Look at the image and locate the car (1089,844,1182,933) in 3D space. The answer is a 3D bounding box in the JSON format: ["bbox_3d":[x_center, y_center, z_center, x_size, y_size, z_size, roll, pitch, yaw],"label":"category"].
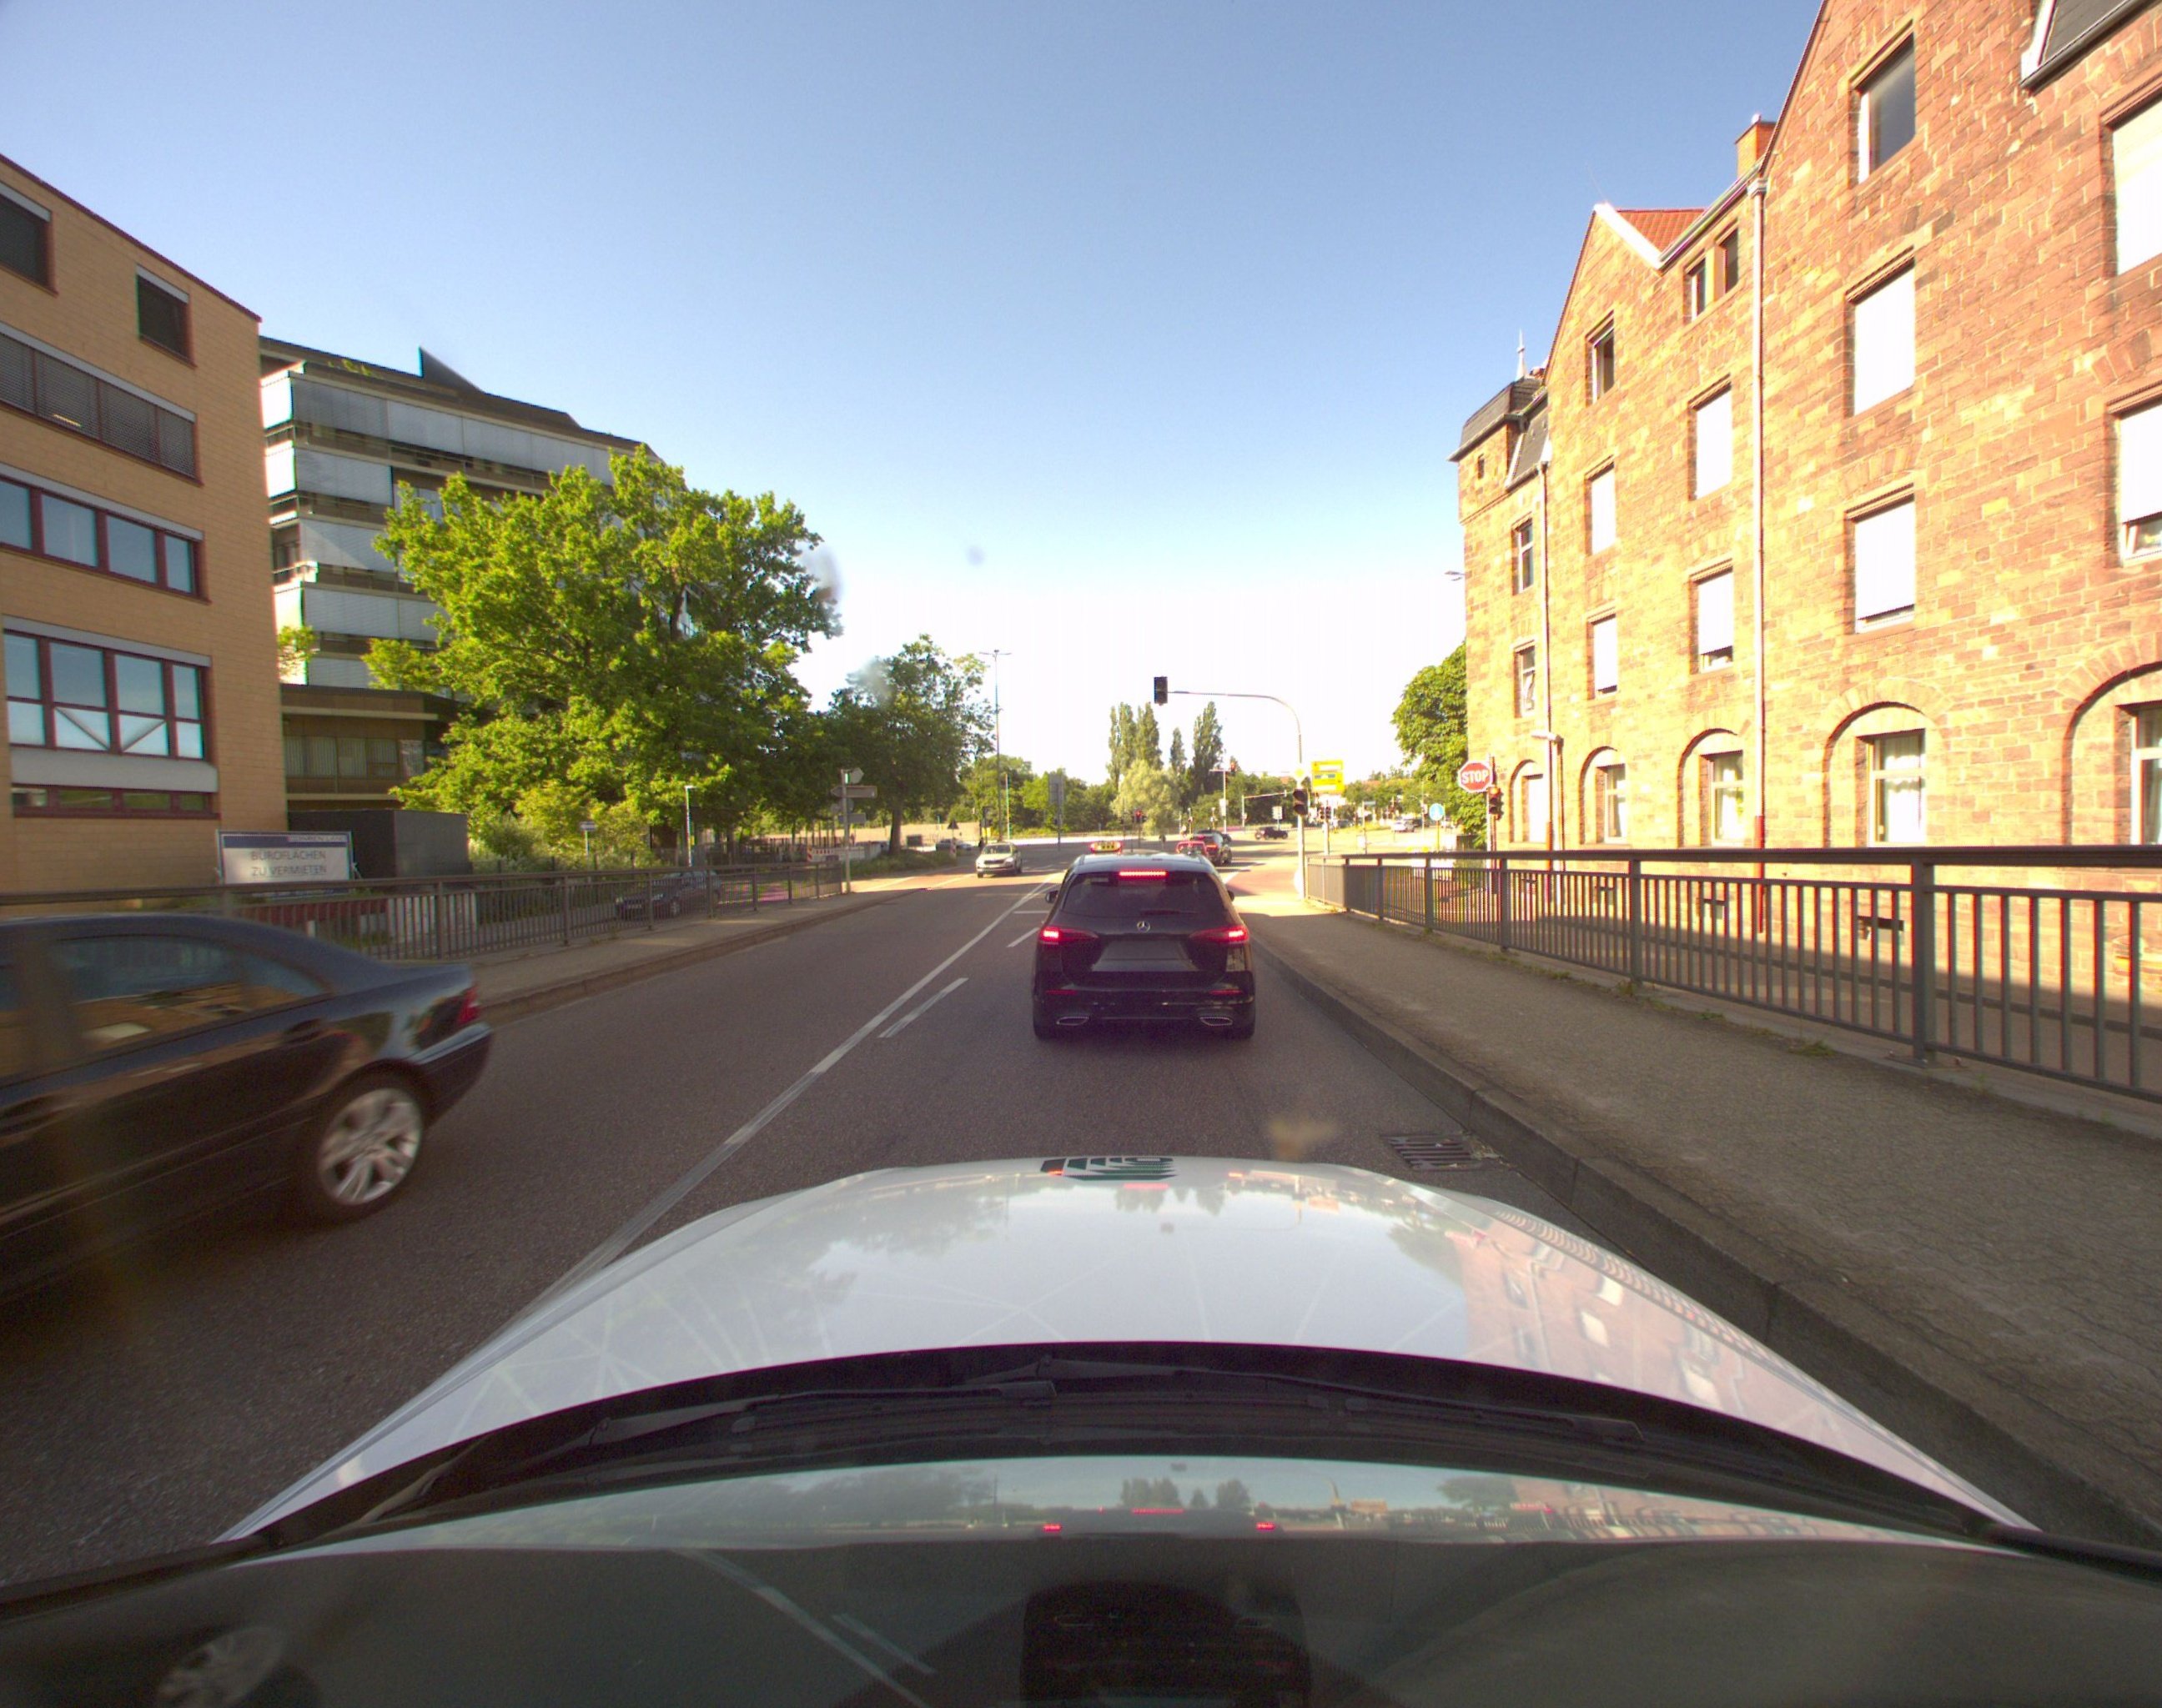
[{"bbox_3d":[1.124,0.612,16.650,1.632,1.529,3.478,-3,1,4],"label":"car"}]

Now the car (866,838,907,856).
[{"bbox_3d":[-19.369,-0.726,81.053,3.948,1.635,1.795,-1,3,35],"label":"car"}]

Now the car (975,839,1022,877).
[{"bbox_3d":[-3.915,0.155,39.265,1.798,1.623,4.000,-2,2,0],"label":"car"}]

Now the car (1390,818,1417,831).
[{"bbox_3d":[39.829,-3.603,100.440,1.974,1.365,4.343,-1,3,37],"label":"car"}]

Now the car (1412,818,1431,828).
[{"bbox_3d":[50.981,-4.687,121.917,1.862,1.294,4.625,-1,3,33],"label":"car"}]

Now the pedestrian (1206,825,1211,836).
[{"bbox_3d":[17.504,-3.245,111.902,0.446,1.585,0.504,-2,1,42],"label":"pedestrian"}]

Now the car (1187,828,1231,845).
[{"bbox_3d":[12.813,-1.752,81.349,3.990,1.498,1.737,-1,0,-13],"label":"car"}]

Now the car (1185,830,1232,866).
[{"bbox_3d":[7.101,-0.365,45.050,1.707,1.812,4.319,-2,2,20],"label":"car"}]

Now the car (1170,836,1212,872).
[{"bbox_3d":[5.367,-0.036,39.419,1.710,1.521,3.499,-1,3,13],"label":"car"}]

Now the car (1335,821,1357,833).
[{"bbox_3d":[38.775,-4.009,119.167,1.860,1.578,4.026,-1,2,38],"label":"car"}]

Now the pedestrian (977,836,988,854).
[{"bbox_3d":[-8.297,-0.785,68.381,0.700,1.525,0.746,-1,1,12],"label":"pedestrian"}]

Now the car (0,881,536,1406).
[{"bbox_3d":[-3.972,0.903,2.528,1.737,1.407,4.198,-2,0,-1],"label":"car"}]

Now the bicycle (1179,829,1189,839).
[{"bbox_3d":[12.600,-2.454,99.645,0.520,1.050,2.002,-2,1,28],"label":"bicycle"}]

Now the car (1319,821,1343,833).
[{"bbox_3d":[35.077,-3.760,114.095,1.860,1.578,4.026,-1,2,38],"label":"car"}]

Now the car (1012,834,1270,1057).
[{"bbox_3d":[0.501,0.649,7.940,1.871,1.613,4.002,0,0,2],"label":"car"}]

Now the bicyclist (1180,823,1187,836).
[{"bbox_3d":[12.583,-3.007,99.624,0.520,1.551,0.812,-2,1,28],"label":"bicyclist"}]

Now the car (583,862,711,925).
[{"bbox_3d":[-13.951,1.206,26.492,1.844,1.692,4.002,-2,2,2],"label":"car"}]

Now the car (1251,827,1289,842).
[{"bbox_3d":[20.935,-2.099,89.960,4.016,1.547,1.871,0,-1,-35],"label":"car"}]

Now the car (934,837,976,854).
[{"bbox_3d":[-13.242,-0.868,85.370,3.949,1.629,1.903,-1,1,30],"label":"car"}]
